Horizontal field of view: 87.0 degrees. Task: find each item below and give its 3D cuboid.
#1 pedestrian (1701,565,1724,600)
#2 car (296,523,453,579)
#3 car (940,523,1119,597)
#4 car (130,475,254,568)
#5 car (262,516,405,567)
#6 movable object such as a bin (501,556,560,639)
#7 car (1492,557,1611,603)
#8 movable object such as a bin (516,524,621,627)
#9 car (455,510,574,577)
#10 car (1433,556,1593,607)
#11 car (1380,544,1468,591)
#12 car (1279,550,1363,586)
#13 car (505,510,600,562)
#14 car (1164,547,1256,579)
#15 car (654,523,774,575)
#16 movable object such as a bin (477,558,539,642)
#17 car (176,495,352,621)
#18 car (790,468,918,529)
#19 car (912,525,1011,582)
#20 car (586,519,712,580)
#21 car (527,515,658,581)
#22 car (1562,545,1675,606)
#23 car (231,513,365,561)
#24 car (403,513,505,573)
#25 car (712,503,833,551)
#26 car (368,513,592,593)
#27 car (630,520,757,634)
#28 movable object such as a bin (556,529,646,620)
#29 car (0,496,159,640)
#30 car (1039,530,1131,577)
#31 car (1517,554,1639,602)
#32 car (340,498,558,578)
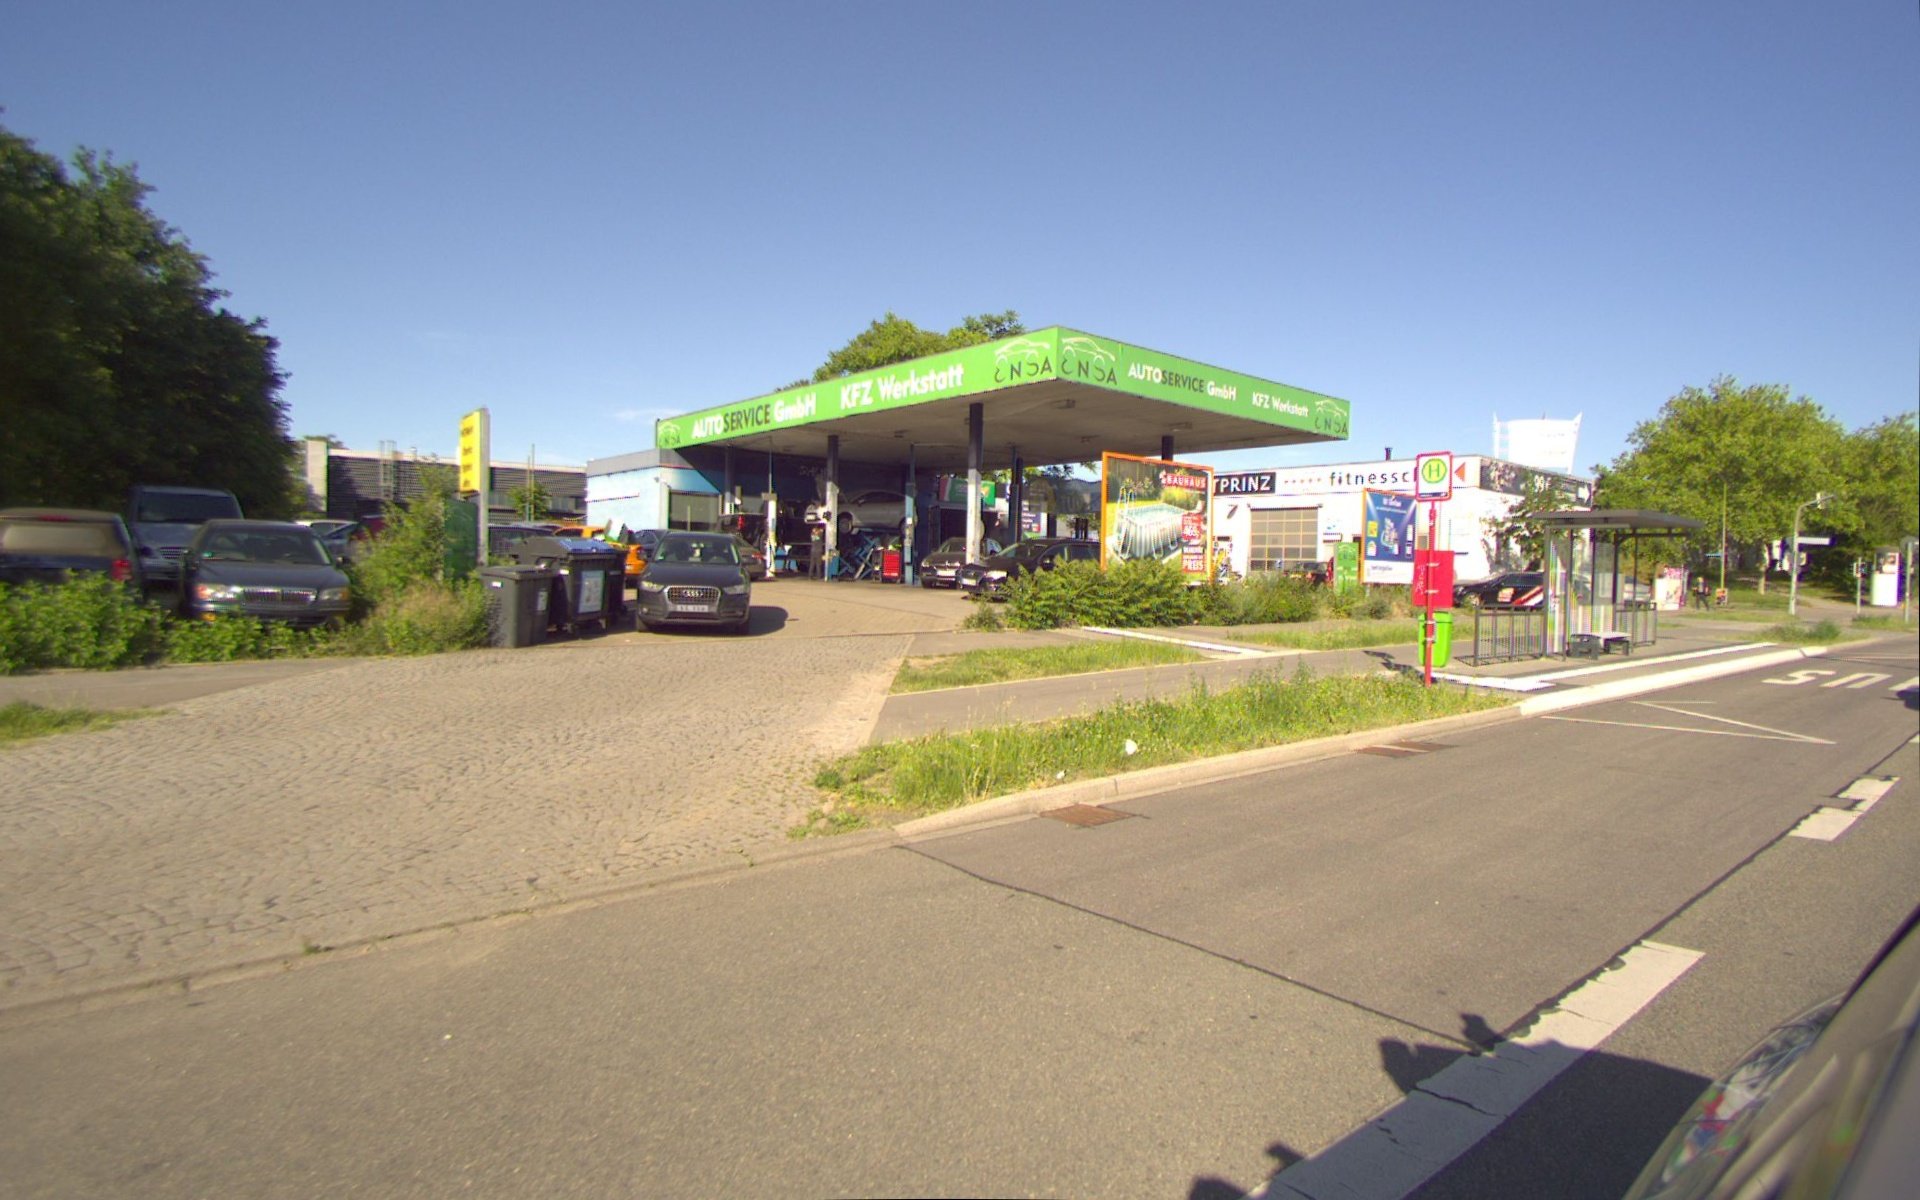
[{"bbox_3d":[37.573,-0.886,50.559,0.607,1.737,0.759,-1,2,-40],"label":"pedestrian"},{"bbox_3d":[-16.511,-1.343,28.610,3.639,1.482,1.611,-1,1,-40],"label":"car"},{"bbox_3d":[1.710,-0.918,24.044,4.173,1.592,1.749,-1,2,-40],"label":"car"},{"bbox_3d":[-14.565,-1.499,19.170,1.703,1.549,4.050,-1,5,-38],"label":"car"},{"bbox_3d":[-19.724,-1.799,31.939,3.639,1.482,1.611,-1,1,-40],"label":"car"},{"bbox_3d":[-5.984,-0.044,14.117,0.572,1.134,0.509,1,1,8],"label":"movable object such as a bin"},{"bbox_3d":[23.715,-0.831,40.680,1.808,1.304,3.621,-1,10,-38],"label":"car"},{"bbox_3d":[-5.781,-0.360,15.009,0.972,1.446,1.258,1,1,7],"label":"movable object such as a bin"},{"bbox_3d":[-12.940,-1.563,29.261,1.967,1.805,3.991,-1,1,-43],"label":"car"},{"bbox_3d":[20.538,-0.718,37.737,4.748,1.549,1.901,3,4,4],"label":"car"},{"bbox_3d":[19.794,-1.417,43.097,4.519,1.803,1.686,-2,7,-43],"label":"car"},{"bbox_3d":[16.332,-1.465,45.704,4.147,1.266,1.771,-5,10,-43],"label":"car"},{"bbox_3d":[-15.807,-2.412,39.142,1.967,1.805,4.515,-1,1,-43],"label":"car"},{"bbox_3d":[12.919,-1.936,52.431,1.959,1.425,4.213,0,5,-41],"label":"car"},{"bbox_3d":[-7.373,-1.543,30.123,1.684,1.434,3.992,-1,4,-44],"label":"car"},{"bbox_3d":[-6.047,-0.005,13.563,0.572,1.088,0.509,1,1,8],"label":"movable object such as a bin"},{"bbox_3d":[-9.268,-0.516,13.375,1.697,1.435,3.292,-1,1,-38],"label":"car"},{"bbox_3d":[-3.415,-3.233,32.862,3.711,1.776,1.924,-1,4,-40],"label":"car"},{"bbox_3d":[0.124,-1.264,28.712,1.970,1.504,3.985,0,1,13],"label":"car"},{"bbox_3d":[-8.598,-1.412,27.804,1.707,1.535,3.992,-1,4,-44],"label":"car"},{"bbox_3d":[-9.344,-1.334,25.577,1.670,1.535,3.992,-1,4,-44],"label":"car"},{"bbox_3d":[28.800,-1.120,44.423,1.652,2.035,4.013,5,8,-8],"label":"car"},{"bbox_3d":[-22.327,-2.082,34.205,3.639,1.482,1.611,-1,1,-40],"label":"car"},{"bbox_3d":[-16.692,-1.819,33.303,1.967,1.805,3.991,-1,1,-43],"label":"car"},{"bbox_3d":[-6.338,-2.450,34.321,3.563,1.495,1.924,-1,4,-40],"label":"car"},{"bbox_3d":[-9.787,-0.915,20.774,3.847,1.482,1.727,-1,1,-40],"label":"car"},{"bbox_3d":[-4.458,-0.509,17.473,1.764,1.659,4.573,2,4,-11],"label":"car"},{"bbox_3d":[-5.971,-0.434,16.881,0.972,1.446,1.222,1,1,7],"label":"movable object such as a bin"},{"bbox_3d":[-10.713,-0.367,12.125,1.740,1.504,3.292,-1,1,-38],"label":"car"},{"bbox_3d":[5.382,-1.980,43.963,1.890,1.930,3.698,-1,1,-40],"label":"car"},{"bbox_3d":[26.066,-0.947,42.823,1.690,1.468,3.944,1,9,-29],"label":"car"},{"bbox_3d":[-11.332,-1.299,22.578,4.063,1.627,1.717,-1,1,-40],"label":"car"}]
